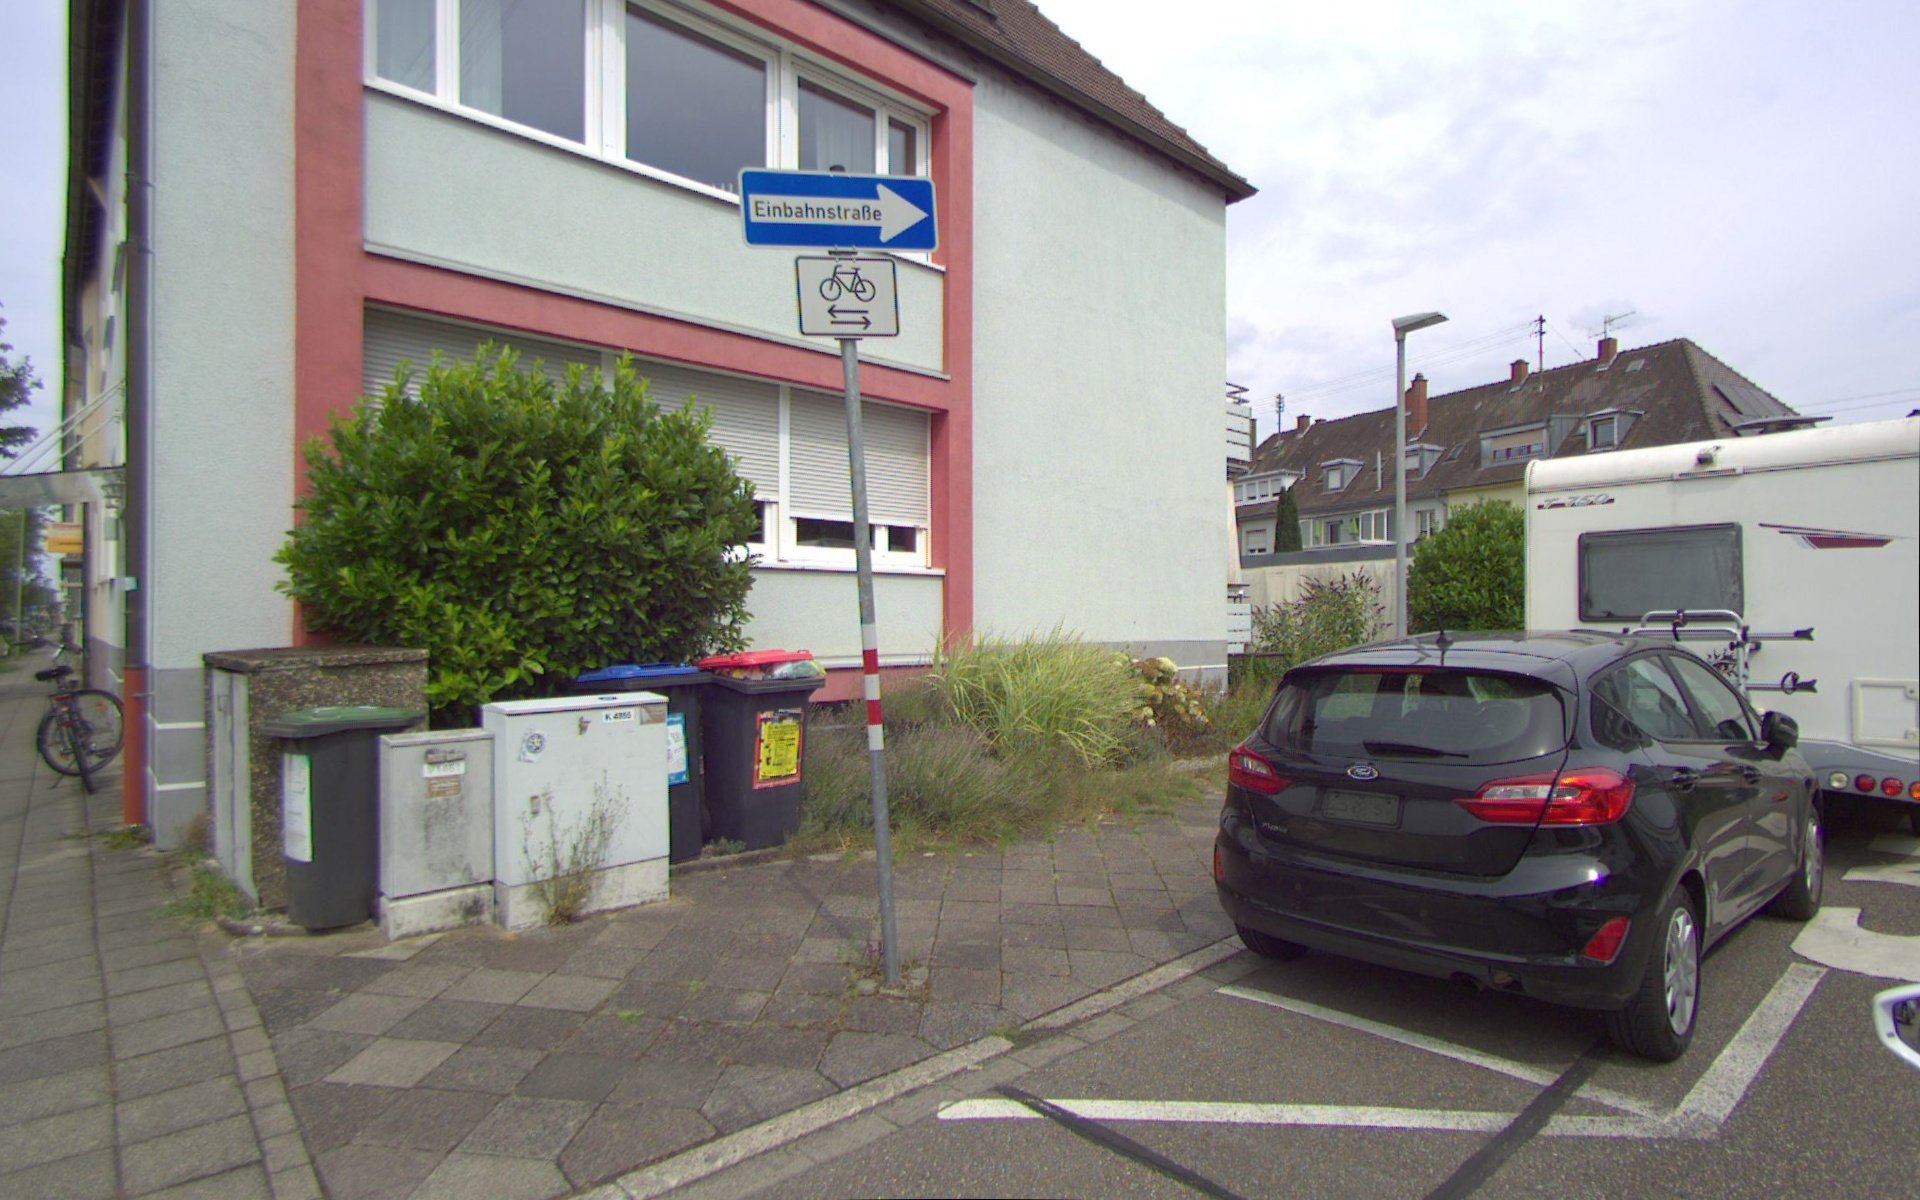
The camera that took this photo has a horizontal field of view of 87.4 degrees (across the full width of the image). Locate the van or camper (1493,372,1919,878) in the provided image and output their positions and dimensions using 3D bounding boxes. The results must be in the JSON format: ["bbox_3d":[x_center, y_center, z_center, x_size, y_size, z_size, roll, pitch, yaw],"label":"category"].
[{"bbox_3d":[6.942,0.288,8.252,6.111,2.760,2.385,3,-3,-39],"label":"van or camper"}]

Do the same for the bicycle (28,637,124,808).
[{"bbox_3d":[-6.925,0.886,7.858,0.488,1.168,1.850,2,-2,-42],"label":"bicycle"}]

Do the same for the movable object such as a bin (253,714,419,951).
[{"bbox_3d":[-2.766,0.989,4.459,0.469,0.919,0.485,-1,-3,42],"label":"movable object such as a bin"}]

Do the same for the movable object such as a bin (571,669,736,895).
[{"bbox_3d":[-1.703,0.960,5.588,0.668,1.128,0.591,-1,-3,42],"label":"movable object such as a bin"}]

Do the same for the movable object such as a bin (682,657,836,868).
[{"bbox_3d":[-1.202,0.928,6.015,0.668,1.147,0.591,-1,-3,42],"label":"movable object such as a bin"}]

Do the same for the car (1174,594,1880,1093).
[{"bbox_3d":[2.864,0.804,4.746,3.736,1.441,1.646,3,-3,-39],"label":"car"}]
